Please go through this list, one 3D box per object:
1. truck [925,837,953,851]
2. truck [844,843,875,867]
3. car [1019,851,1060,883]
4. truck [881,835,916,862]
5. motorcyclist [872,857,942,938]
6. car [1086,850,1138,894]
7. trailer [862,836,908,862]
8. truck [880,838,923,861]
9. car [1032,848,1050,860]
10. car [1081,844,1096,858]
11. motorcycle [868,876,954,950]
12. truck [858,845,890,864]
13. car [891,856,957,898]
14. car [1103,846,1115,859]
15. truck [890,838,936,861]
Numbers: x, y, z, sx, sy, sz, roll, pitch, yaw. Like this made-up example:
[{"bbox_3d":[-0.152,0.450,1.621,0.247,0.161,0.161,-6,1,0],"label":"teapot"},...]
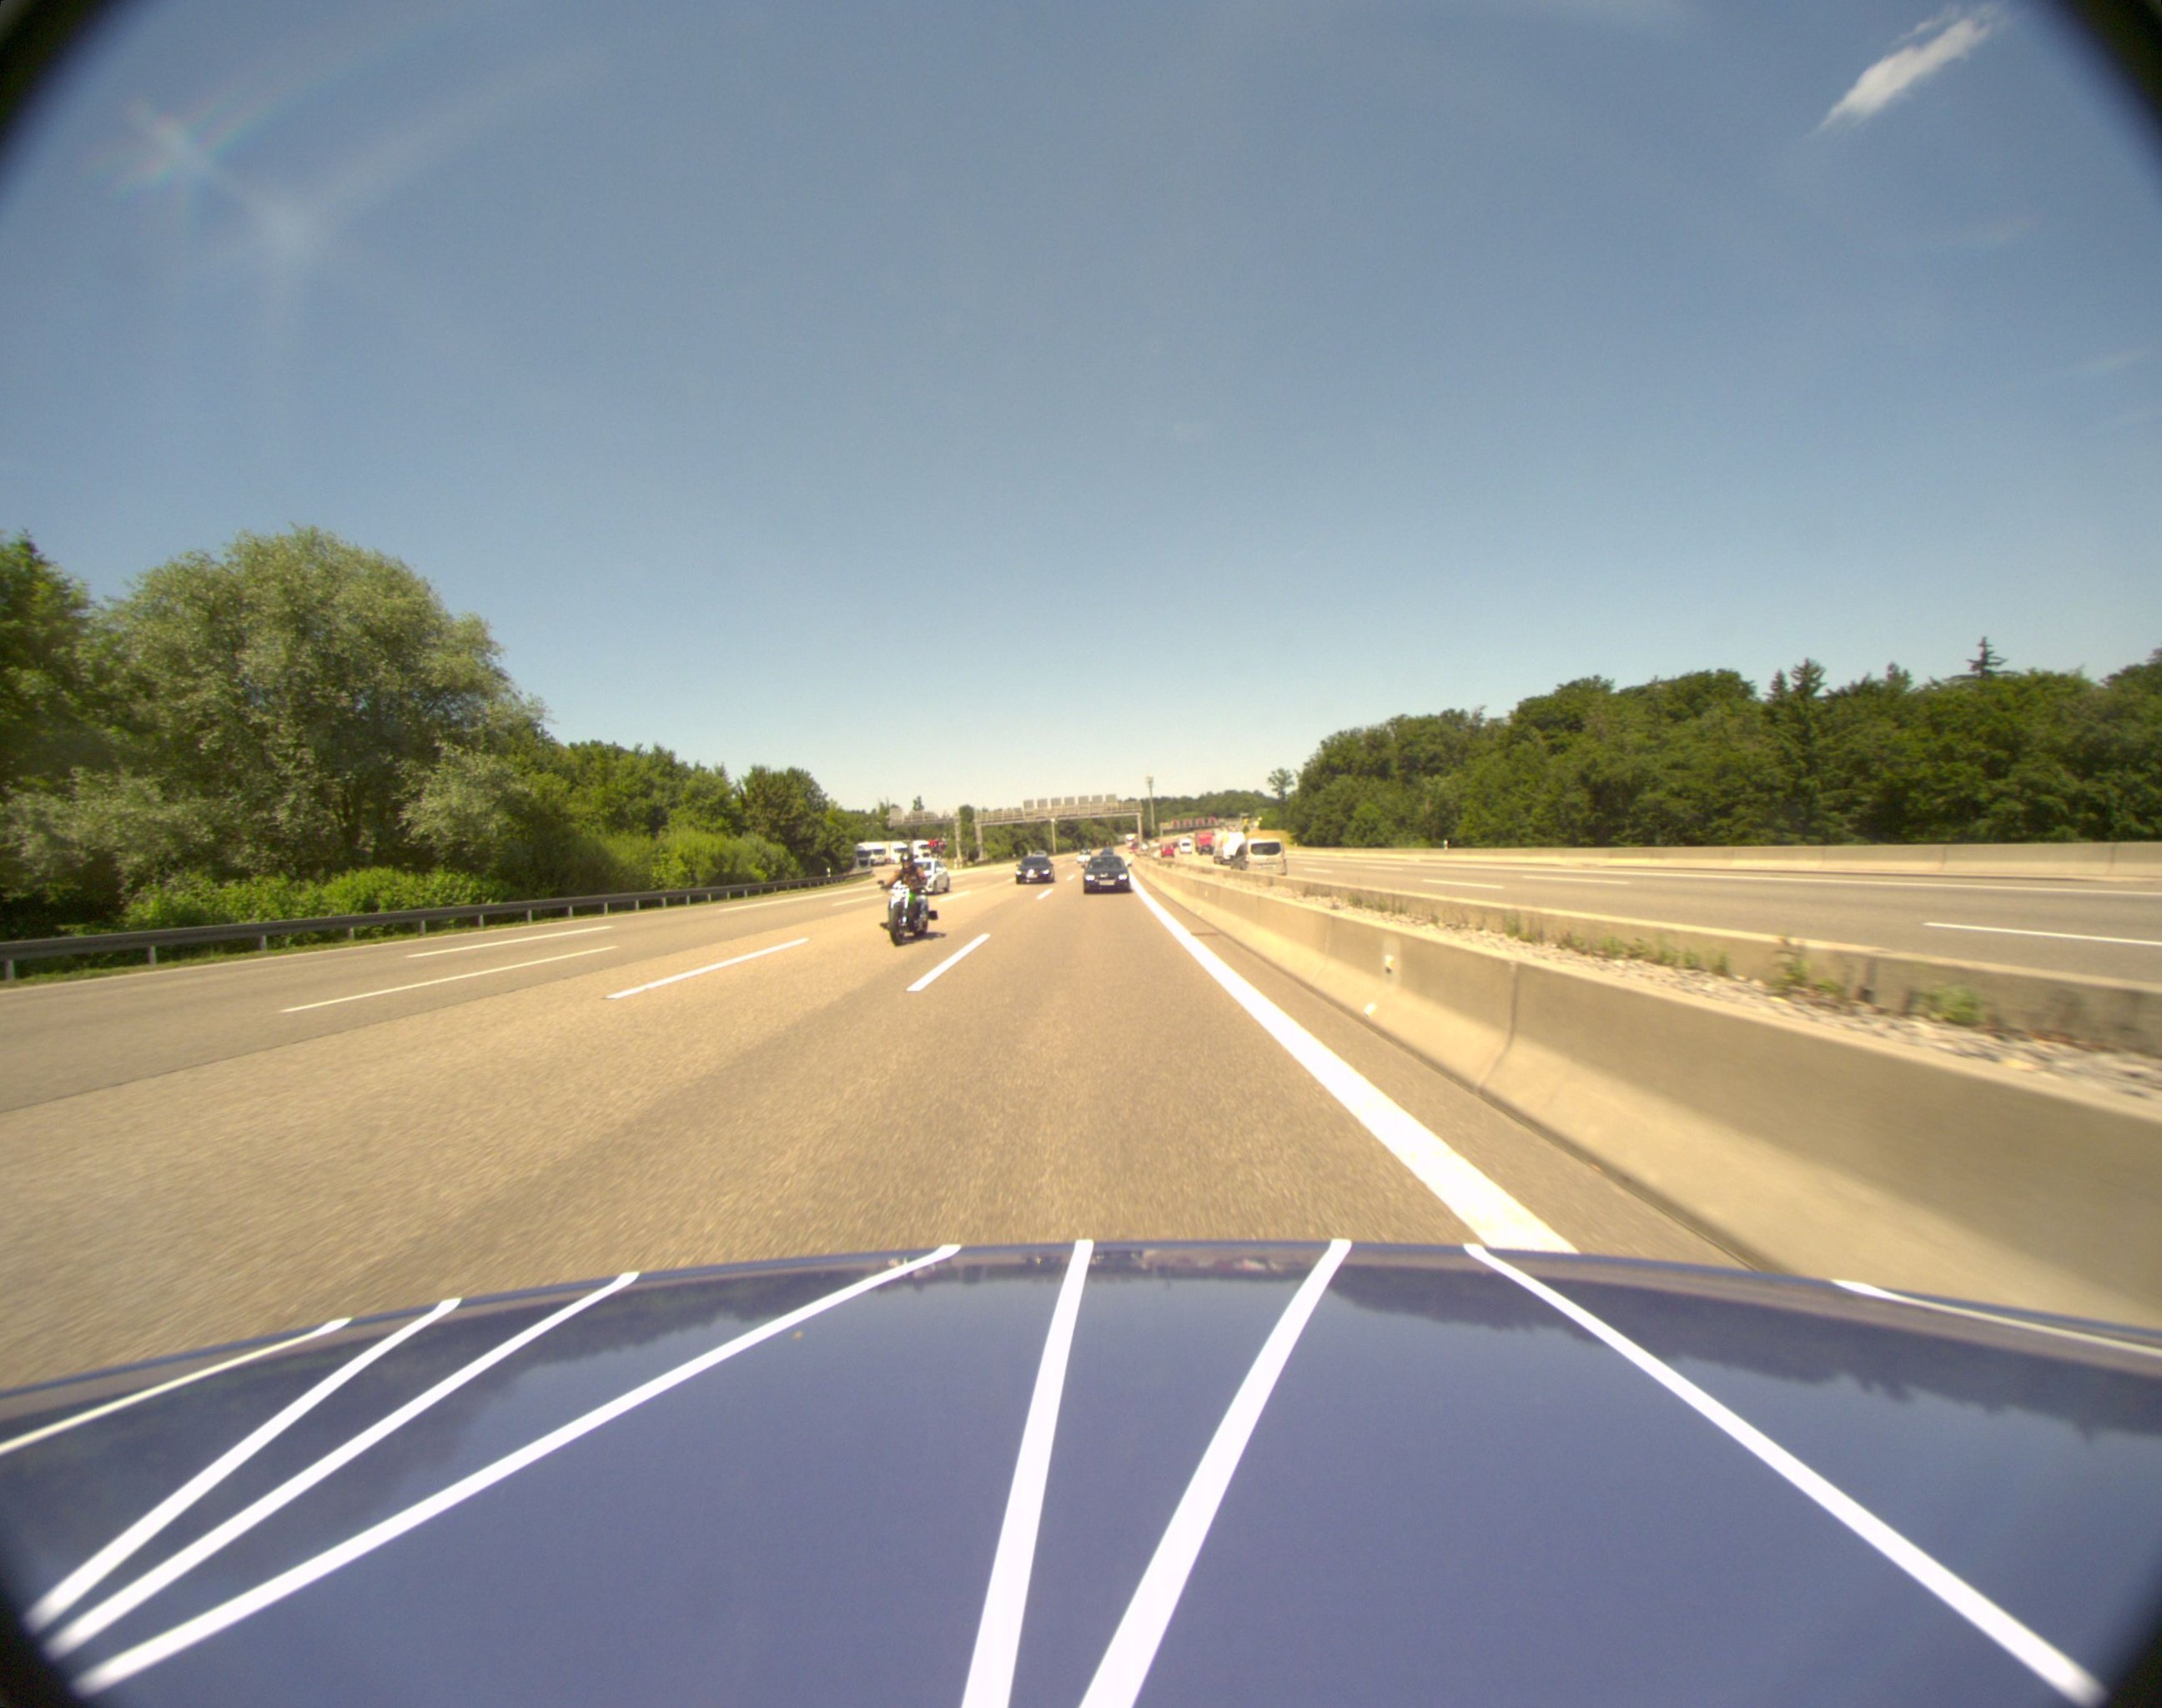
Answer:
[{"bbox_3d":[-32.705,-2.185,174.301,2.003,2.934,8.724,-6,4,-40],"label":"truck"},{"bbox_3d":[-35.736,0.135,122.640,2.497,3.591,6.309,-6,3,-37],"label":"truck"},{"bbox_3d":[-2.172,0.659,40.421,1.760,1.431,3.999,-2,2,2],"label":"car"},{"bbox_3d":[-34.180,-0.935,142.160,3.272,4.699,7.169,-6,4,-40],"label":"truck"},{"bbox_3d":[-3.217,0.788,14.149,0.854,1.419,1.024,-2,2,13],"label":"motorcyclist"},{"bbox_3d":[1.154,0.644,29.355,1.769,1.496,4.000,-3,0,1],"label":"car"},{"bbox_3d":[-37.913,-0.854,146.419,3.287,4.682,12.025,-6,4,-41],"label":"trailer"},{"bbox_3d":[-37.213,-0.868,156.752,2.836,4.436,12.028,-6,4,-42],"label":"truck"},{"bbox_3d":[-5.659,-0.013,107.252,1.998,1.522,3.999,-2,2,4],"label":"car"},{"bbox_3d":[0.990,-0.403,96.487,1.729,1.521,3.740,-1,2,2],"label":"car"},{"bbox_3d":[-3.127,1.056,14.285,0.536,1.129,2.438,-2,1,13],"label":"motorcycle"},{"bbox_3d":[-36.672,0.055,134.441,2.458,3.108,9.004,-6,3,-35],"label":"truck"},{"bbox_3d":[-6.555,0.915,32.221,1.754,1.510,4.483,-2,0,0],"label":"car"},{"bbox_3d":[4.956,-0.362,134.503,1.998,2.003,3.999,-3,3,4],"label":"car"},{"bbox_3d":[-36.189,-0.914,163.282,2.836,4.434,14.603,-3,1,-41],"label":"truck"}]
